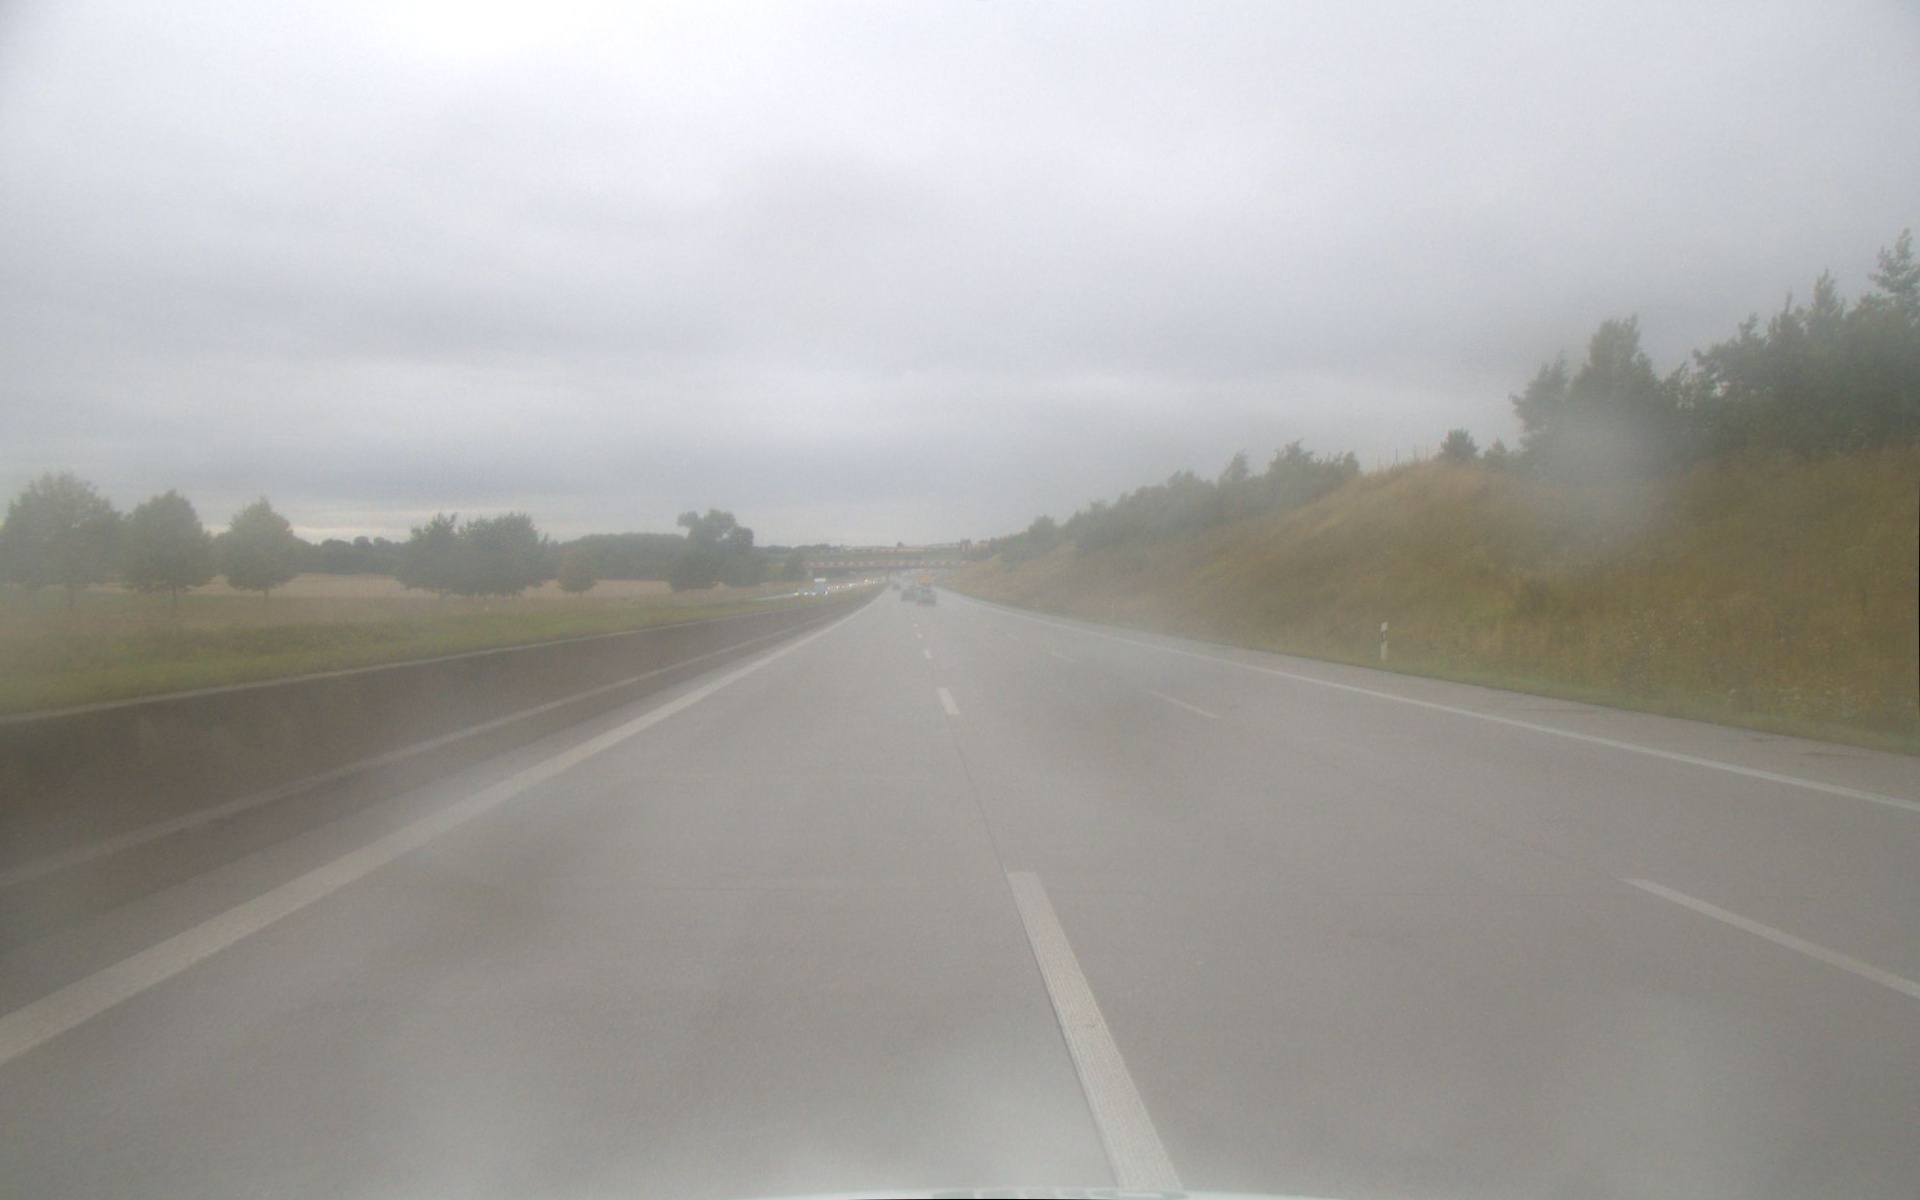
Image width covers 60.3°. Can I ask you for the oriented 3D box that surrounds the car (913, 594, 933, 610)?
[{"bbox_3d":[-3.629,0.158,161.029,1.811,1.354,4.427,1,2,-3],"label":"car"}]

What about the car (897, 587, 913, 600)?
[{"bbox_3d":[-6.279,-0.744,188.834,1.694,1.354,4.429,1,2,-1],"label":"car"}]
